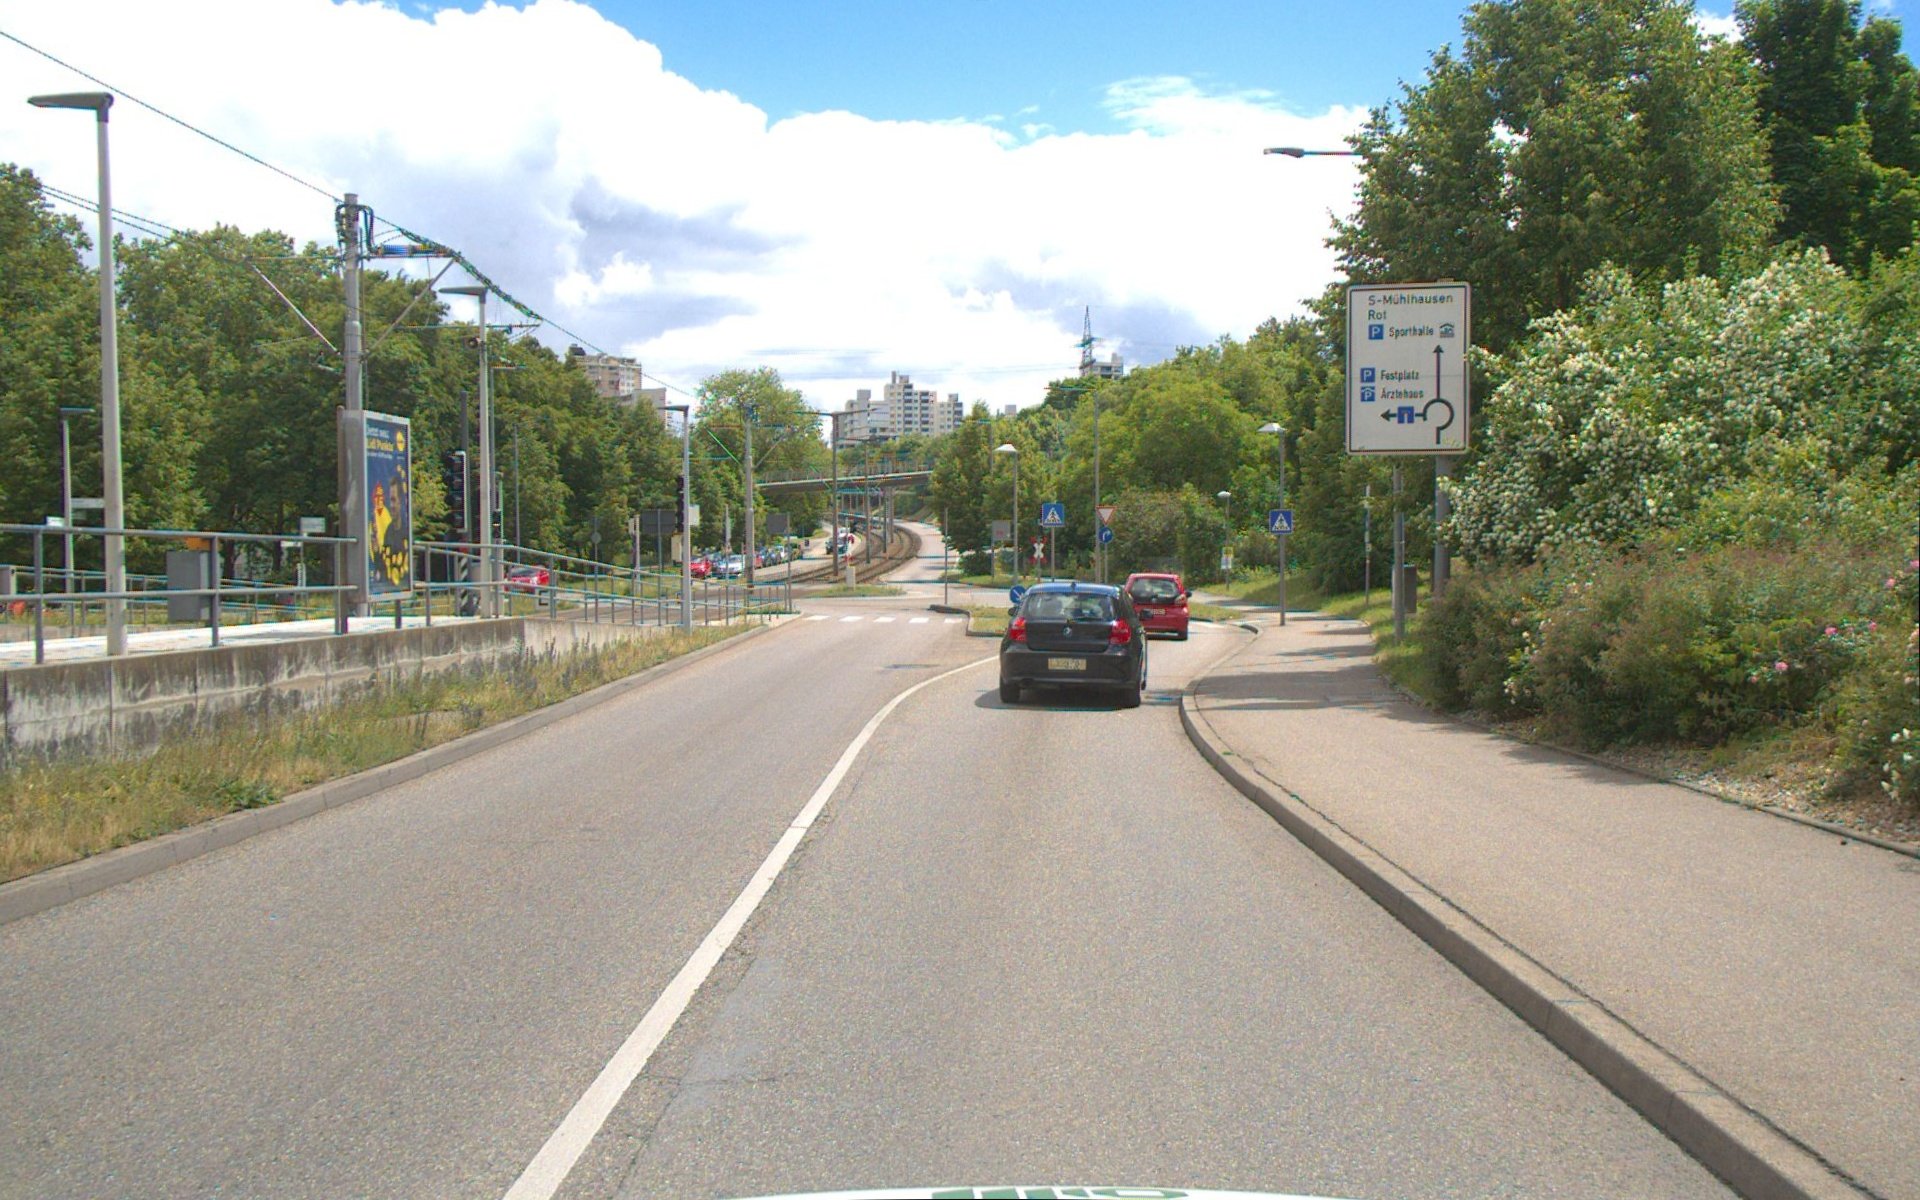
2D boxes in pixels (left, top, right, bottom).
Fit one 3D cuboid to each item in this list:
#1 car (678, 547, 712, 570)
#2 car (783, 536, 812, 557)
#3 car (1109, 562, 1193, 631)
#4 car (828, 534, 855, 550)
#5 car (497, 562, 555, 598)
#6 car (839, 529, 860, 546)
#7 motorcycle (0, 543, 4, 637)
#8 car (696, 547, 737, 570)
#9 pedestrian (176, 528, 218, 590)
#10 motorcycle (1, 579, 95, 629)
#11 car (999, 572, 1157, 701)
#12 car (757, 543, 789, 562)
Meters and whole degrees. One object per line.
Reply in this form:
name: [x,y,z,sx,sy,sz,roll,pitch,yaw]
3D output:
car: [-16.816,-2.656,105.012,1.496,1.394,3.599,0,2,2]
car: [-15.032,-4.940,153.188,1.951,1.895,4.003,0,3,4]
car: [4.315,-0.111,37.774,1.728,1.457,3.481,-1,1,4]
car: [-12.117,-5.913,169.722,1.951,1.625,4.423,0,2,6]
car: [-19.567,-0.916,74.733,1.683,1.529,2.969,0,2,3]
car: [-13.654,-7.720,204.429,1.959,2.048,3.989,-1,2,-12]
motorcycle: [-21.667,-0.193,35.481,0.815,2.048,1.984,0,1,15]
car: [-16.365,-2.800,111.287,1.839,1.450,3.534,0,2,7]
pedestrian: [-25.471,-1.365,55.222,0.940,2.048,0.822,1,2,20]
motorcycle: [-21.369,0.081,38.800,0.713,1.100,2.217,0,2,9]
car: [1.498,0.398,20.840,1.777,1.445,4.002,-1,1,4]
car: [-15.523,-3.954,137.414,1.952,1.499,4.003,0,2,4]
